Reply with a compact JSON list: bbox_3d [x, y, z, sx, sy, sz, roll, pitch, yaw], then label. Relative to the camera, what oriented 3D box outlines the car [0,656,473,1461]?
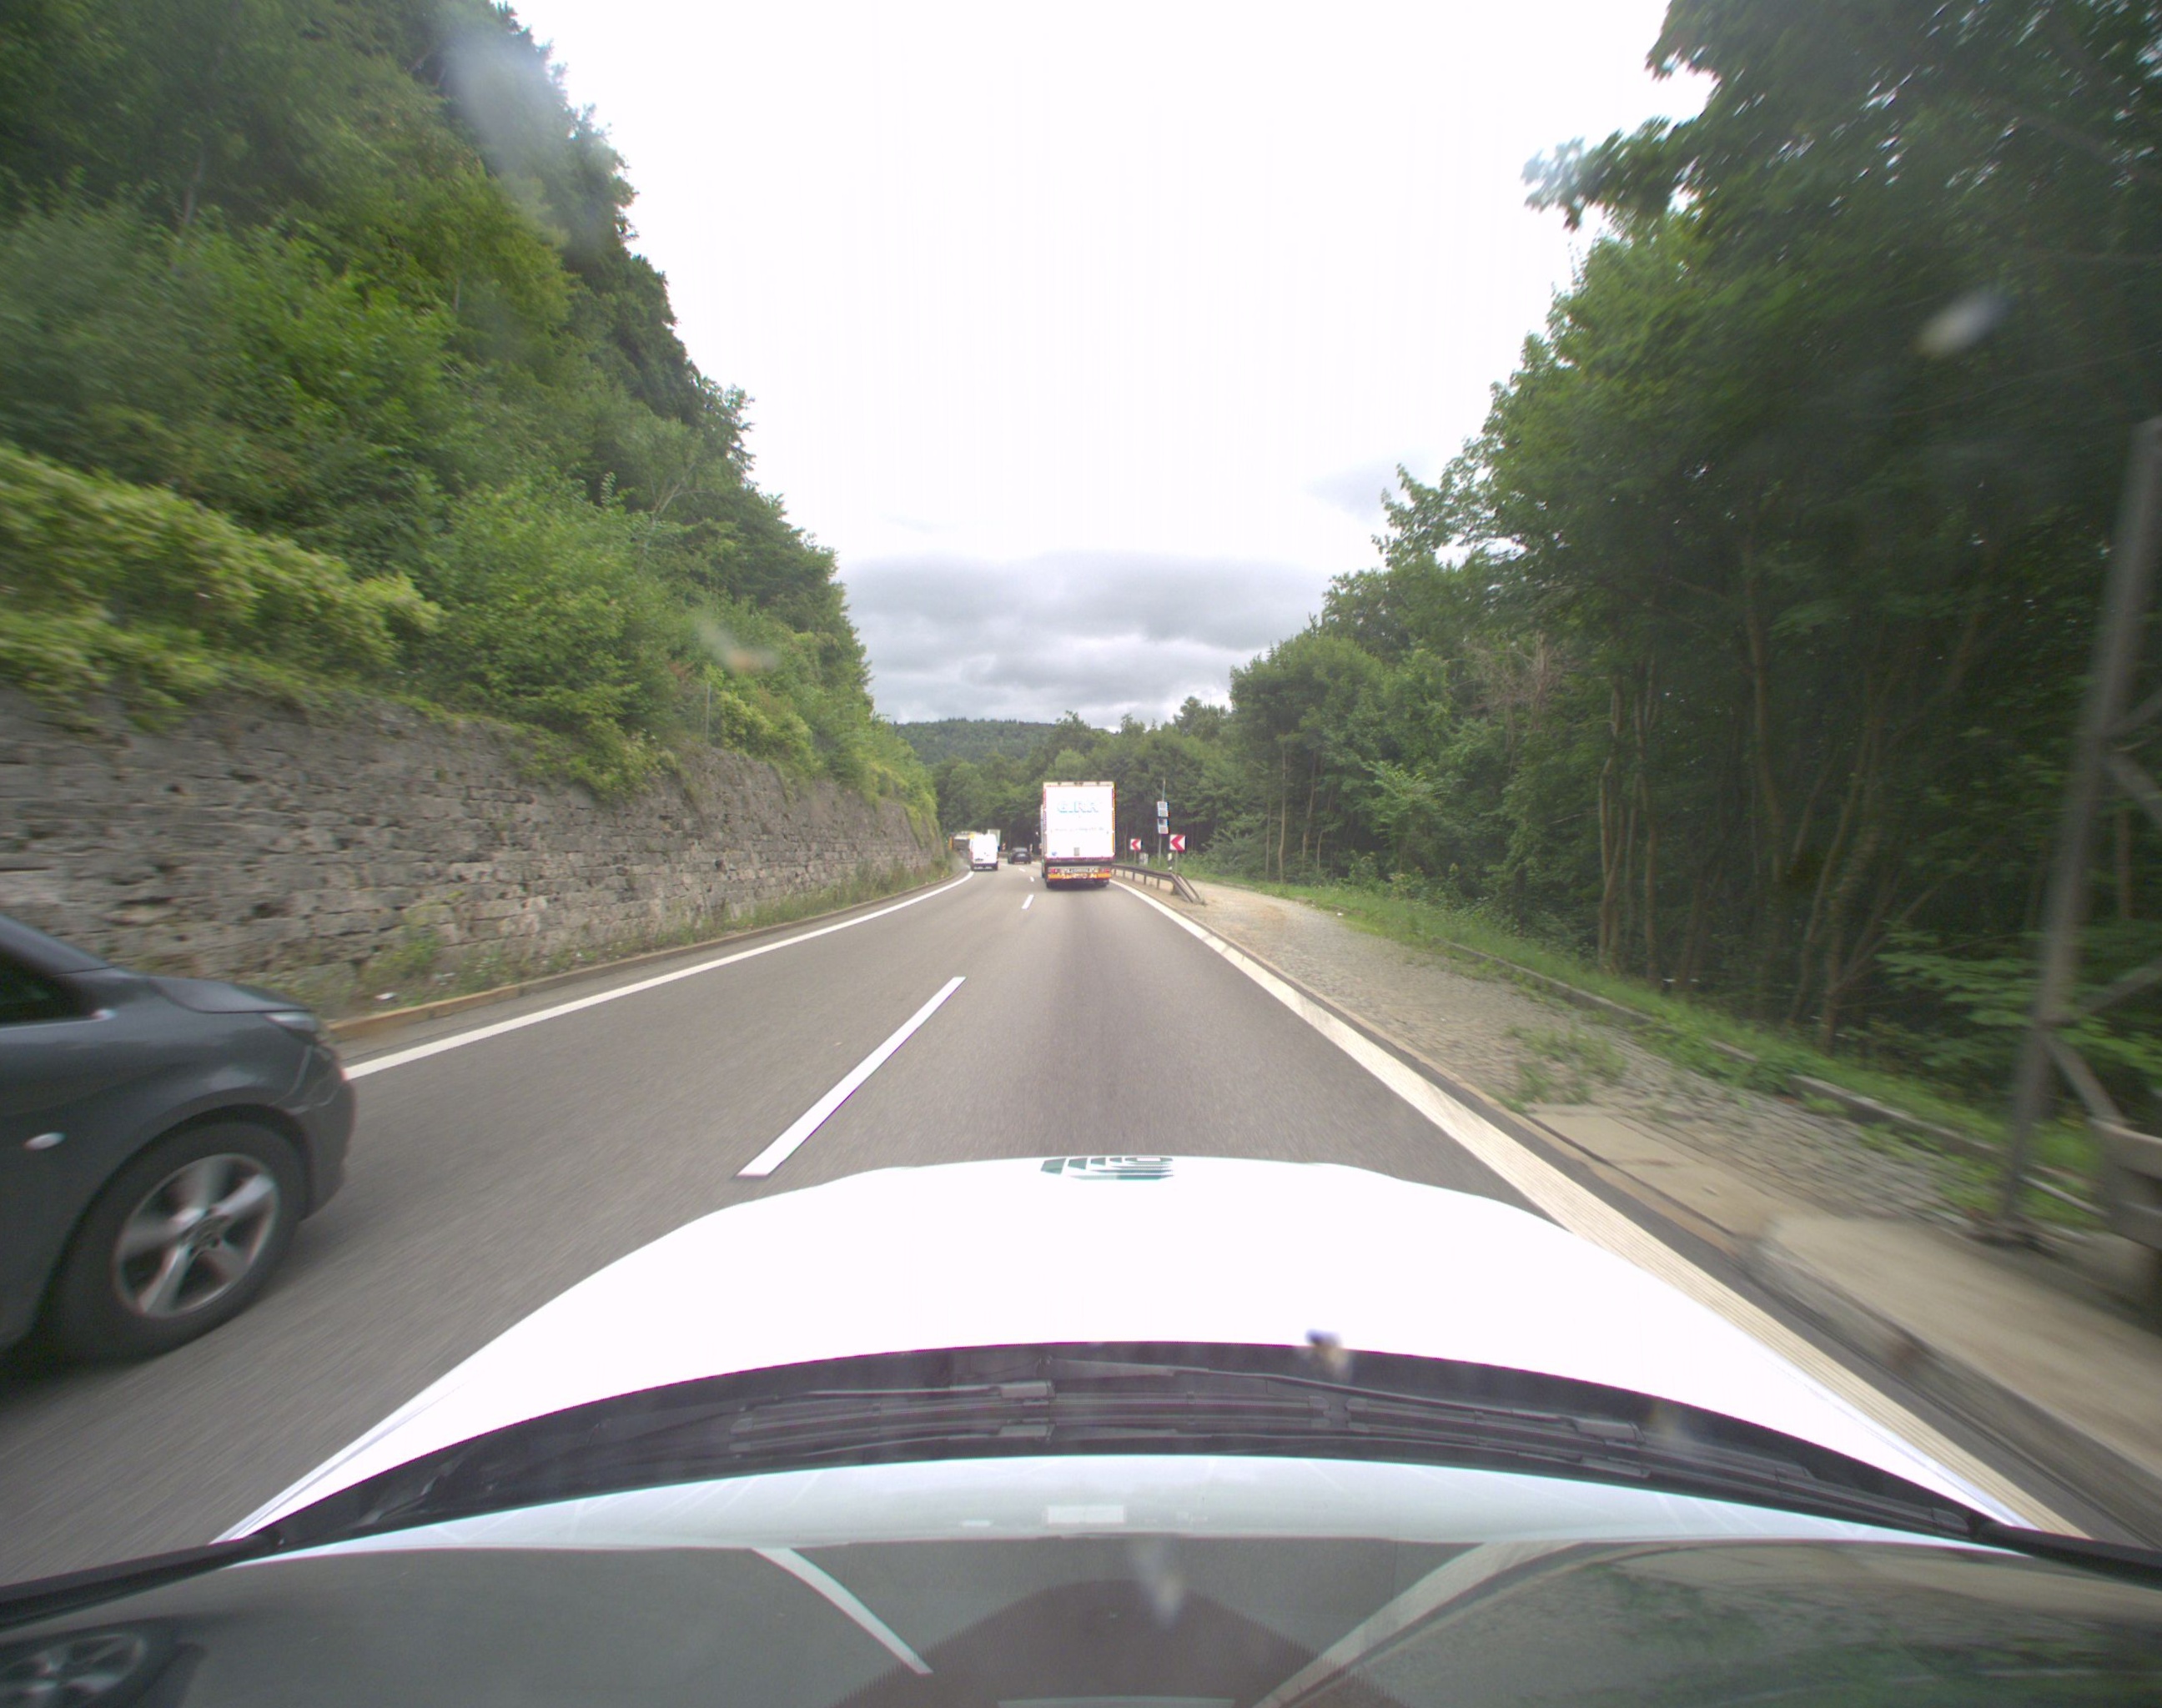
[{"bbox_3d":[-3.718,0.535,0.809,1.987,2.013,5.541,-1,1,1],"label":"car"}]

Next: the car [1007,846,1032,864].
[{"bbox_3d":[-6.036,0.073,79.712,1.995,1.662,3.984,1,0,-12],"label":"car"}]

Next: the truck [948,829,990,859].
[{"bbox_3d":[-16.327,-1.456,117.259,3.068,3.985,13.606,-2,1,-20],"label":"truck"}]

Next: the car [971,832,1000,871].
[{"bbox_3d":[-7.261,-0.209,61.496,1.988,2.672,6.917,1,0,-8],"label":"car"}]

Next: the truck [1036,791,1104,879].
[{"bbox_3d":[-0.693,-0.997,41.501,3.051,3.985,7.180,2,2,-3],"label":"truck"}]

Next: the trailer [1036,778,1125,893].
[{"bbox_3d":[-0.328,-0.840,35.109,3.051,3.985,12.124,2,2,-3],"label":"trailer"}]

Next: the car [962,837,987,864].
[{"bbox_3d":[-11.010,-0.360,84.085,1.942,2.672,5.964,1,0,-13],"label":"car"}]
